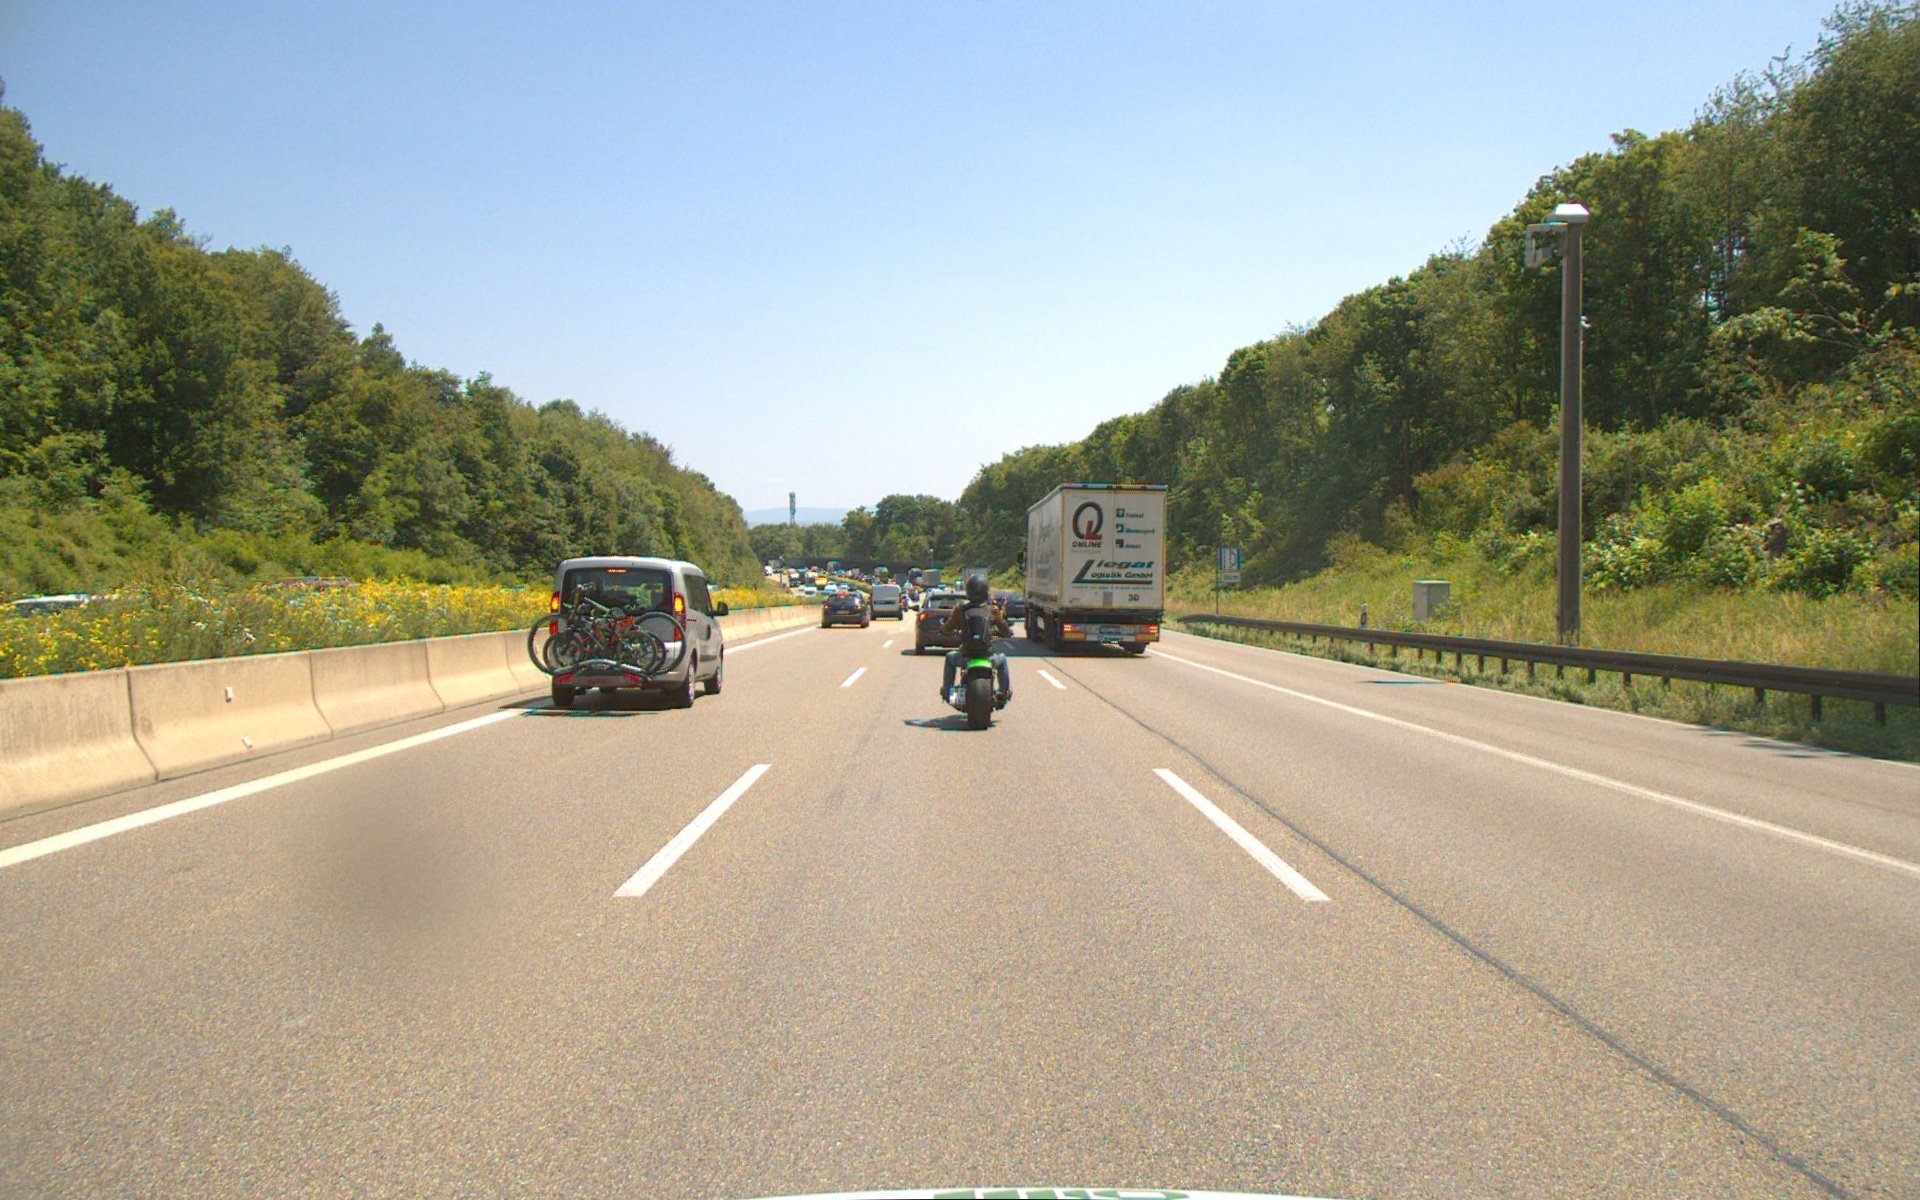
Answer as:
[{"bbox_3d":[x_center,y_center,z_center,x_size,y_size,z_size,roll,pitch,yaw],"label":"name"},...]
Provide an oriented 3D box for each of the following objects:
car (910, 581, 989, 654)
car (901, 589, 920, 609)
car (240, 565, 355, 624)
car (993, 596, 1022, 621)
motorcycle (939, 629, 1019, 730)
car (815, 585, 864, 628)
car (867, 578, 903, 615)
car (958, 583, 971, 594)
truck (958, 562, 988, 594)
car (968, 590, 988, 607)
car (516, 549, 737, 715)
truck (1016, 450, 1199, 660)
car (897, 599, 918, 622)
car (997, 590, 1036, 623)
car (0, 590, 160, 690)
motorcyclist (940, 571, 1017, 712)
[{"bbox_3d":[-0.281,0.378,40.180,1.808,1.584,4.439,1,2,-1],"label":"car"},{"bbox_3d":[-4.880,-0.107,164.608,1.794,1.842,4.120,1,2,-1],"label":"car"},{"bbox_3d":[-22.405,-0.161,56.158,1.952,1.839,4.654,2,0,0],"label":"car"},{"bbox_3d":[3.300,0.588,114.855,1.794,1.585,4.120,1,2,-1],"label":"car"},{"bbox_3d":[0.204,0.869,18.747,0.844,0.999,2.131,0,1,0],"label":"motorcycle"},{"bbox_3d":[-4.866,0.247,67.031,1.722,1.570,4.395,1,2,-1],"label":"car"},{"bbox_3d":[-4.029,-0.206,89.174,1.794,1.842,4.120,1,2,-1],"label":"car"},{"bbox_3d":[0.626,-1.665,238.831,1.794,1.585,4.120,1,2,-1],"label":"car"},{"bbox_3d":[1.389,-2.505,183.403,3.005,3.404,9.651,2,1,-1],"label":"truck"},{"bbox_3d":[1.749,-0.155,162.475,1.794,1.585,4.120,1,2,-1],"label":"car"},{"bbox_3d":[-4.172,0.339,21.609,1.860,1.880,5.482,1,1,-1],"label":"car"},{"bbox_3d":[3.751,-1.258,47.597,3.314,4.799,17.707,2,1,-1],"label":"truck"},{"bbox_3d":[-4.528,0.873,142.694,1.794,1.842,4.120,1,2,-1],"label":"car"},{"bbox_3d":[2.895,0.313,85.180,1.794,1.585,4.120,1,2,-1],"label":"car"},{"bbox_3d":[-18.140,0.758,33.305,1.773,1.839,4.501,2,0,0],"label":"car"},{"bbox_3d":[0.205,0.452,18.592,0.838,1.541,0.914,0,1,0],"label":"motorcyclist"}]
